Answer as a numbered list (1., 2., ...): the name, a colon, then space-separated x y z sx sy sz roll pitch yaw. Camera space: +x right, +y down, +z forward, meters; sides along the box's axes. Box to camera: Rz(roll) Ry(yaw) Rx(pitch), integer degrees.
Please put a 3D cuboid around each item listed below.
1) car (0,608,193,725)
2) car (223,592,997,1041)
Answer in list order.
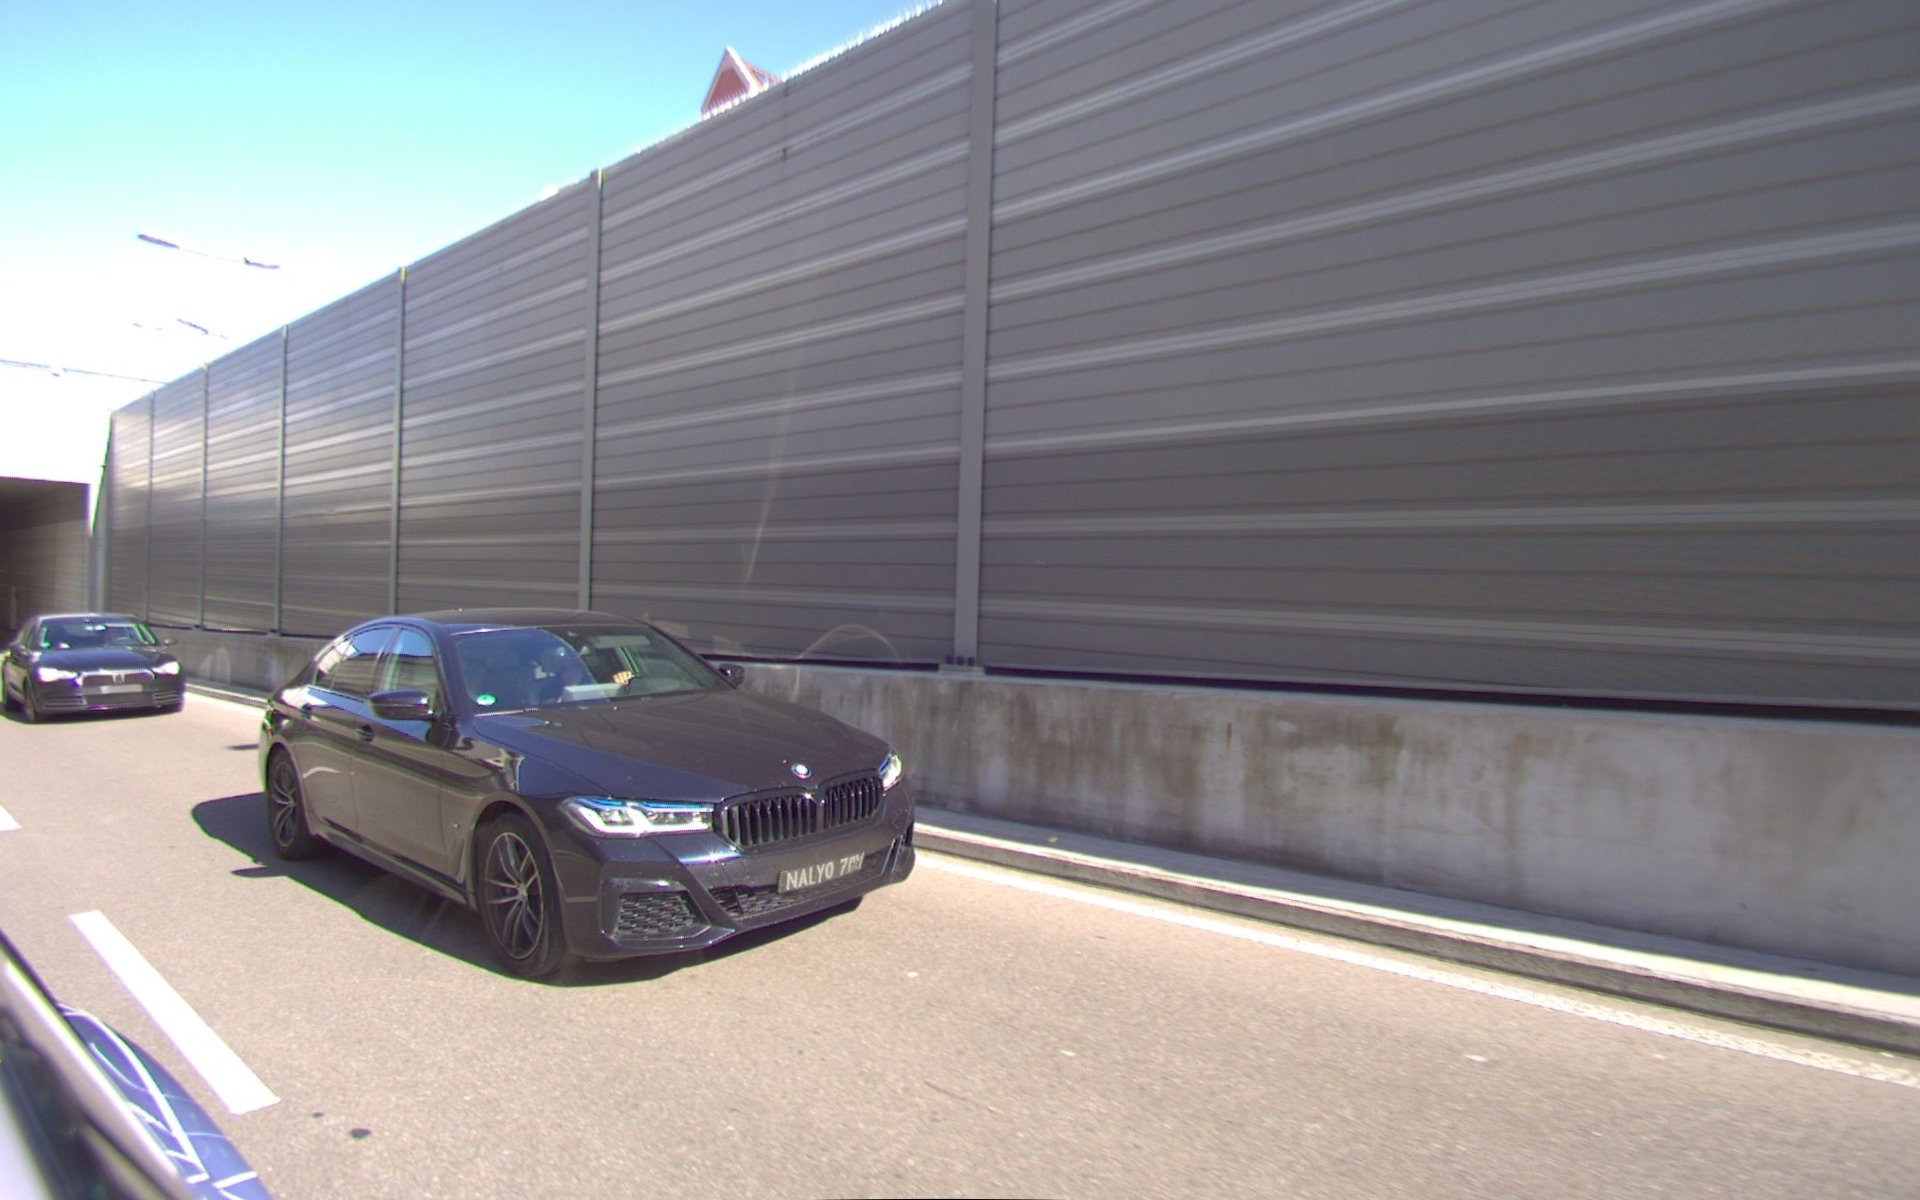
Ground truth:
1. car: -12.571 0.873 14.548 3.886 1.429 1.678 -2 -1 41
2. car: -2.308 0.745 5.614 4.999 1.450 1.790 -1 0 41
